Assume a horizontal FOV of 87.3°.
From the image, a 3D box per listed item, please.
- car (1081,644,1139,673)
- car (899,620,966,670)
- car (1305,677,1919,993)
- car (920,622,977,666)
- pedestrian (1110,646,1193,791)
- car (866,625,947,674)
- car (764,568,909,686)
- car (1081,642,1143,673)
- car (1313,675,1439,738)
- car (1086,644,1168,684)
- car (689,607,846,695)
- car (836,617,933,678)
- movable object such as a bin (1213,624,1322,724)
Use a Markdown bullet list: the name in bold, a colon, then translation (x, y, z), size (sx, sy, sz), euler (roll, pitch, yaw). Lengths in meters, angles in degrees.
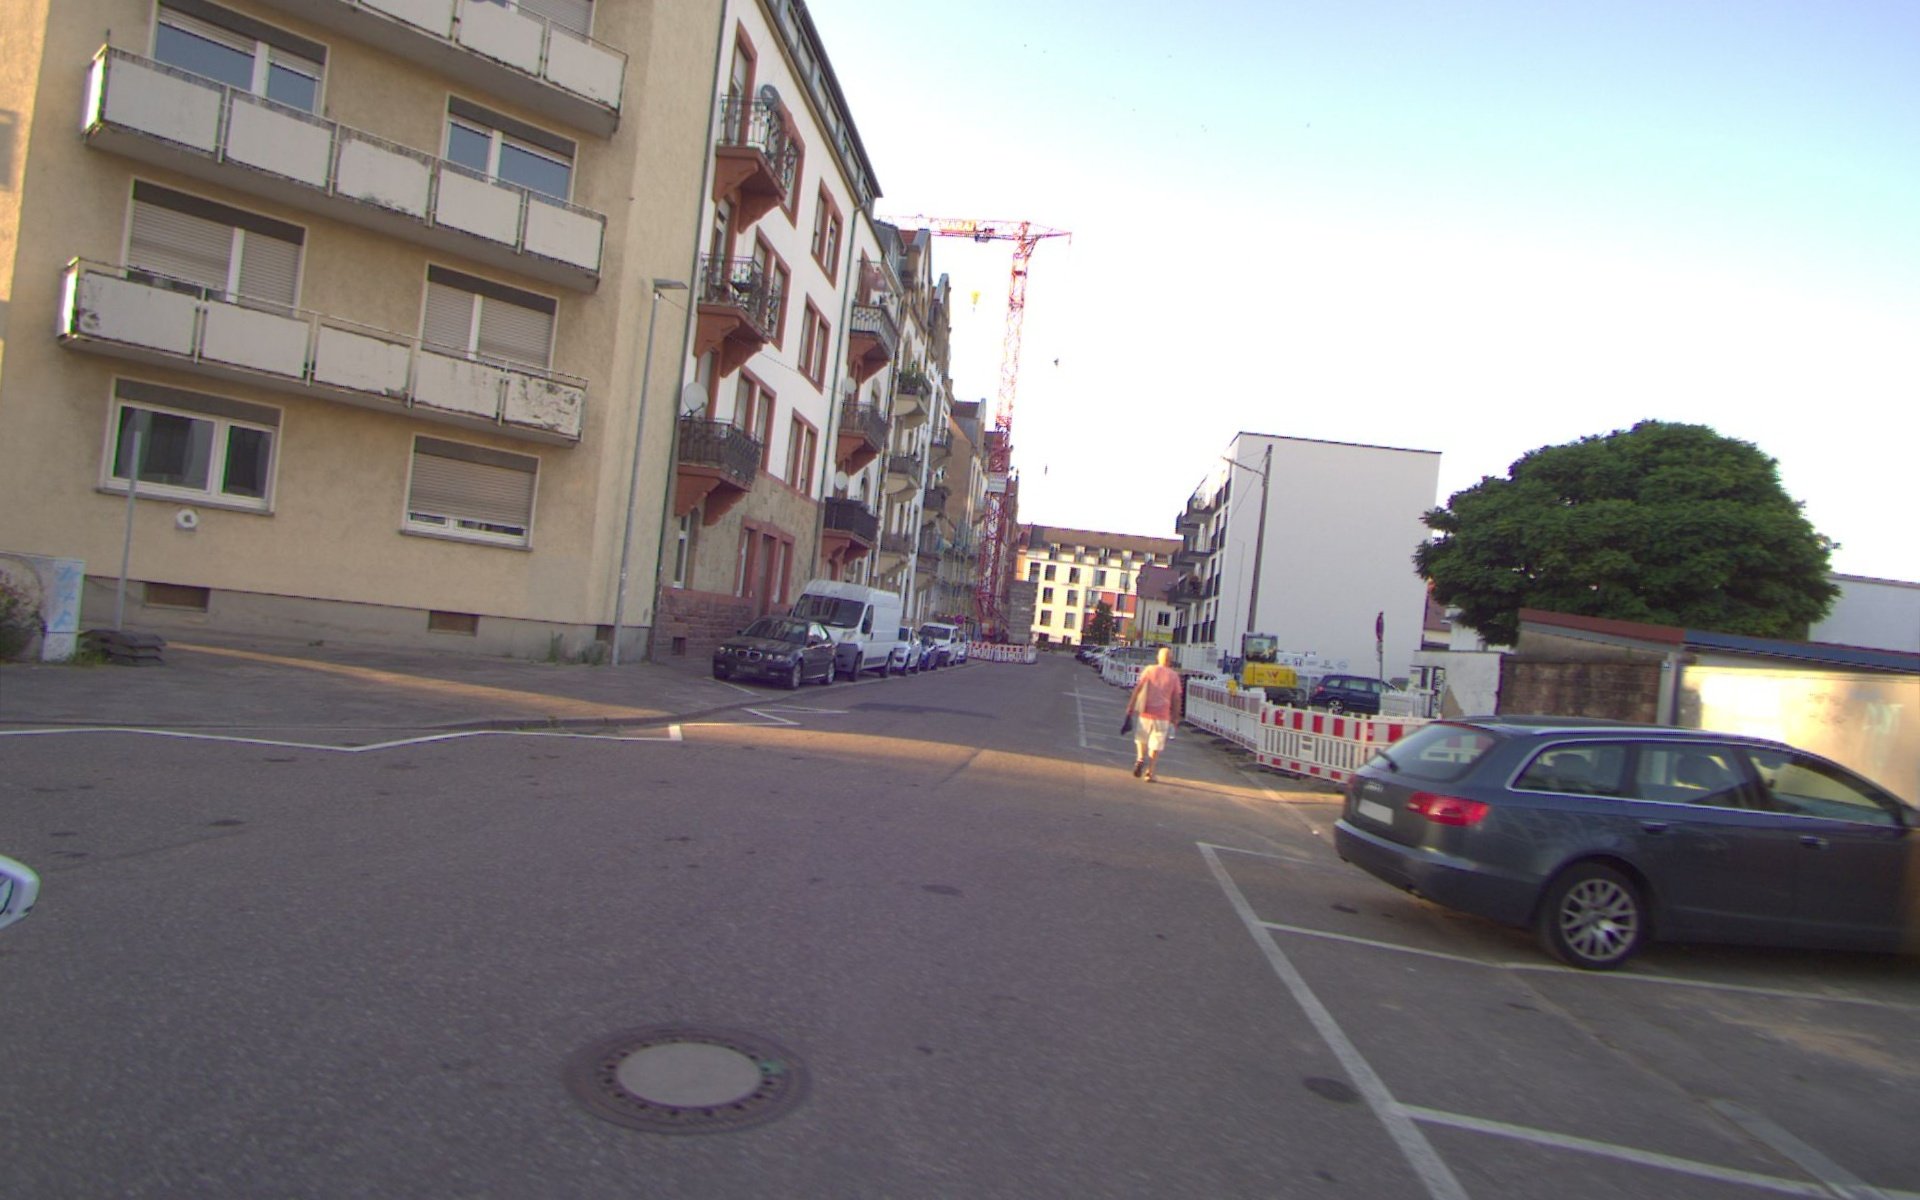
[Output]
- **car**: translation (13.875, 5.367, 93.009), size (4.974, 2.095, 2.002), euler (6, -1, 13)
- **car**: translation (-1.184, 2.053, 46.012), size (2.162, 1.886, 4.613), euler (8, -1, 7)
- **car**: translation (5.047, 1.542, 6.894), size (4.641, 1.549, 1.832), euler (5, -1, -3)
- **car**: translation (-0.536, 2.292, 52.053), size (2.162, 1.886, 4.613), euler (8, -1, 7)
- **pedestrian**: translation (2.409, 1.472, 12.740), size (0.771, 1.685, 0.630), euler (8, 0, 6)
- **car**: translation (-1.986, 1.902, 38.821), size (2.162, 1.461, 4.613), euler (8, -2, 7)
- **car**: translation (-3.146, 0.785, 27.303), size (2.190, 2.559, 6.043), euler (8, -1, 7)
- **car**: translation (13.262, 5.032, 87.639), size (4.974, 2.095, 2.002), euler (6, -1, 13)
- **car**: translation (14.883, 3.789, 36.162), size (3.927, 1.724, 1.849), euler (6, -1, 22)
- **car**: translation (11.233, 4.263, 67.729), size (4.979, 2.095, 2.000), euler (6, -1, -3)
- **car**: translation (-3.893, 1.056, 21.103), size (1.962, 1.387, 4.004), euler (8, -2, 7)
- **car**: translation (-2.420, 1.582, 33.548), size (2.190, 1.585, 4.613), euler (8, -2, 7)
- **movable object such as a bin**: translation (10.039, 2.383, 32.491), size (2.626, 2.691, 5.201), euler (6, -2, 23)
